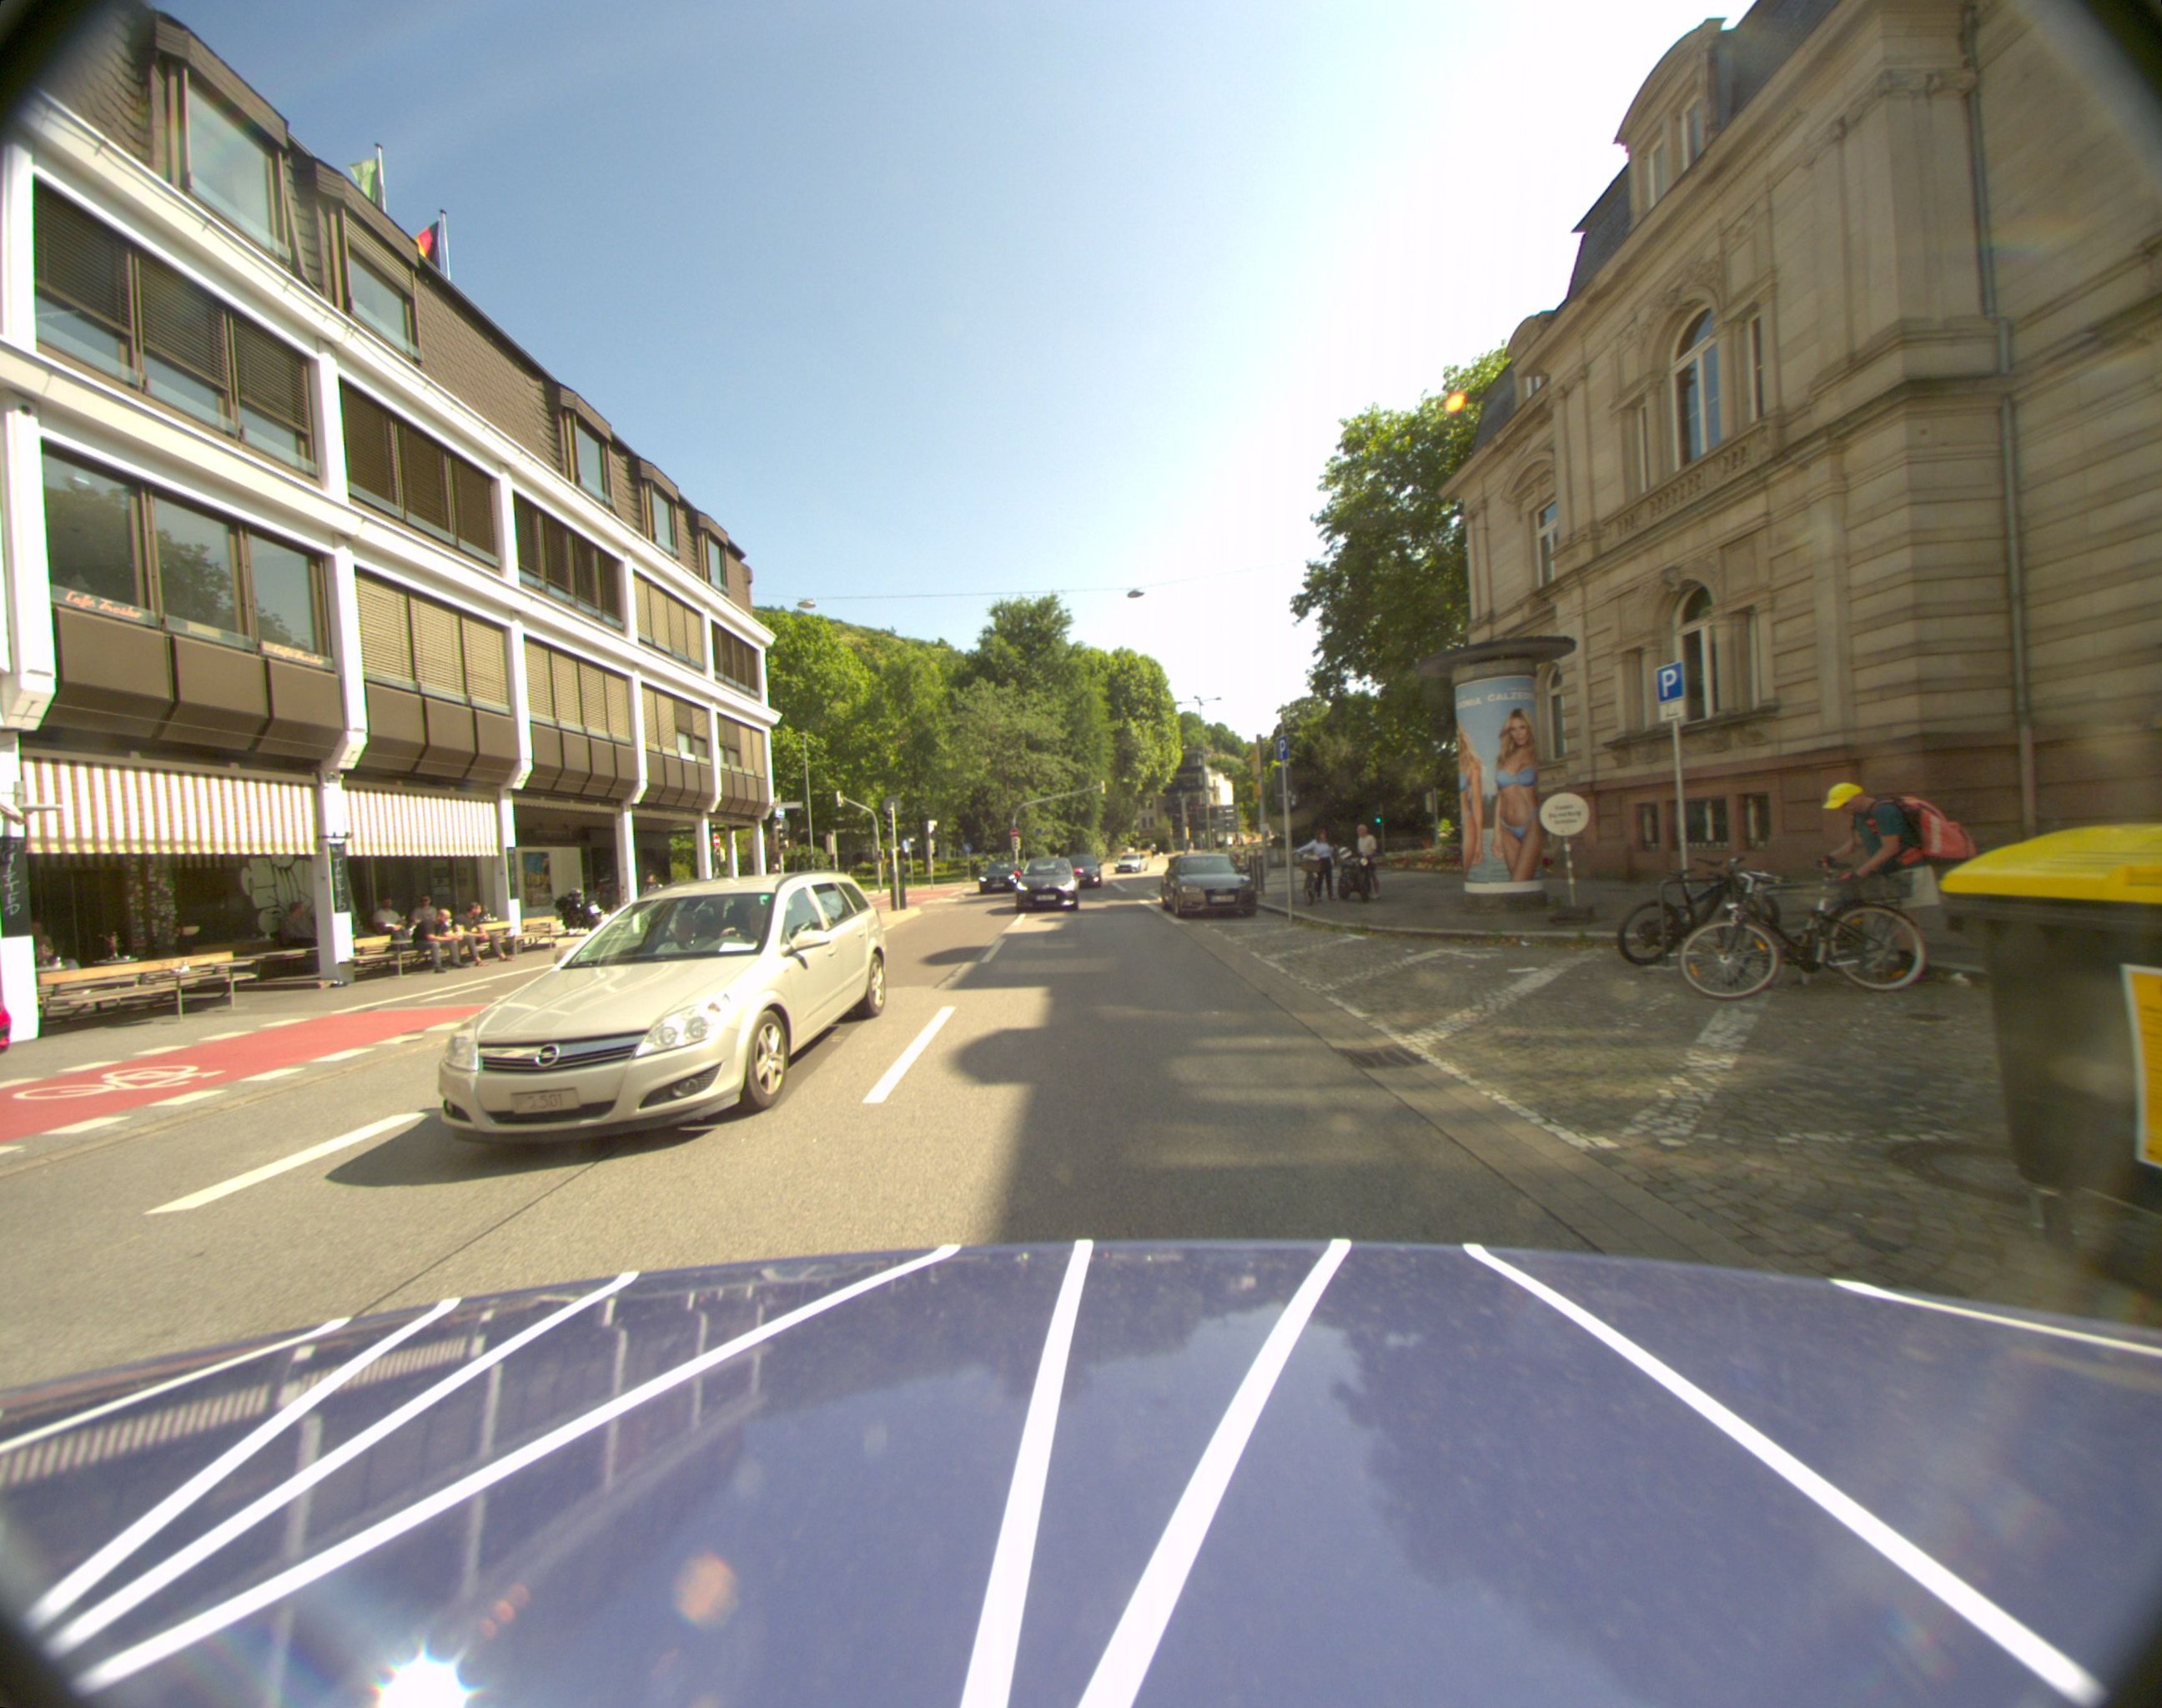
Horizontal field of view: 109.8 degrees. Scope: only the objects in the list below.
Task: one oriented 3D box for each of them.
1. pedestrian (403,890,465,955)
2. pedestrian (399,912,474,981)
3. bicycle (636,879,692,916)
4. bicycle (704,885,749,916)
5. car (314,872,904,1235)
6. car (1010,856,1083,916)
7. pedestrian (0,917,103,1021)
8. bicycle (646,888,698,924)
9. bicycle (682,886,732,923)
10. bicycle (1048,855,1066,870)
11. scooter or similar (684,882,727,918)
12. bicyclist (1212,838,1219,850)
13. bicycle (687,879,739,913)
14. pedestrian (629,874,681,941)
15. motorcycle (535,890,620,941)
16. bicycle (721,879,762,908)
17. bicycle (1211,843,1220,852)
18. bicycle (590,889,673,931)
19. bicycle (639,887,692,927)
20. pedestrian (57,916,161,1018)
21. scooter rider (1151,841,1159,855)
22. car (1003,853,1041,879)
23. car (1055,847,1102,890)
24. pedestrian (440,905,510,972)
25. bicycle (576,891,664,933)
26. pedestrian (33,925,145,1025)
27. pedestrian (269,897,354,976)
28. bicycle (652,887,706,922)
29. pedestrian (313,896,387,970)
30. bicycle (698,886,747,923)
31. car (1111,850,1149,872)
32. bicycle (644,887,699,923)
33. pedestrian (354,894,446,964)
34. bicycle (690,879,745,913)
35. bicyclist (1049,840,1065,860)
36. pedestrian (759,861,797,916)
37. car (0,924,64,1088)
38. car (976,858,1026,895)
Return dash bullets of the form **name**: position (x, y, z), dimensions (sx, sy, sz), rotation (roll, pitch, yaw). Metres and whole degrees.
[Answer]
- **pedestrian**: position (-14.983, 1.586, 17.620), dimensions (0.713, 1.389, 0.696), rotation (-3, 2, -1)
- **pedestrian**: position (-12.035, 1.715, 14.212), dimensions (0.712, 1.166, 0.697), rotation (-3, 2, 9)
- **bicycle**: position (-17.872, 1.849, 32.585), dimensions (1.970, 1.414, 0.529), rotation (-3, 0, -39)
- **bicycle**: position (-13.470, 1.743, 28.891), dimensions (1.474, 1.059, 0.376), rotation (-3, 1, -43)
- **car**: position (-2.764, 1.005, 5.839), dimensions (1.712, 1.513, 4.406), rotation (-4, 0, -1)
- **car**: position (-0.989, 0.851, 22.165), dimensions (1.811, 1.443, 3.953), rotation (-5, 0, -2)
- **pedestrian**: position (-14.800, 1.629, 10.836), dimensions (0.879, 1.360, 0.537), rotation (-4, 1, -1)
- **bicycle**: position (-13.341, 1.701, 24.799), dimensions (1.574, 1.114, 0.278), rotation (-2, 1, 7)
- **bicycle**: position (-12.899, 1.719, 26.305), dimensions (0.277, 1.114, 2.244), rotation (-3, 0, 8)
- **bicycle**: position (-1.889, 0.699, 61.203), dimensions (0.782, 1.114, 1.680), rotation (-4, 1, 22)
- **scooter or similar**: position (-13.757, 1.684, 27.854), dimensions (1.248, 1.225, 0.480), rotation (-4, 1, 6)
- **bicyclist**: position (19.402, -1.442, 109.946), dimensions (0.765, 1.627, 0.944), rotation (-3, 2, 20)
- **bicycle**: position (-15.688, 1.767, 32.417), dimensions (1.862, 1.309, 0.529), rotation (-3, 0, -39)
- **pedestrian**: position (-11.192, 1.399, 19.983), dimensions (0.834, 1.654, 0.697), rotation (-3, 2, 9)
- **motorcycle**: position (-14.097, 1.699, 21.251), dimensions (2.237, 1.283, 0.950), rotation (-3, 2, 28)
- **bicycle**: position (-13.371, 1.537, 29.979), dimensions (0.308, 1.059, 1.474), rotation (-2, 1, 35)
- **bicycle**: position (19.473, -0.979, 110.045), dimensions (0.758, 1.114, 2.004), rotation (-3, 2, 21)
- **bicycle**: position (-14.051, 1.741, 23.766), dimensions (2.243, 1.114, 0.277), rotation (-4, 1, -7)
- **bicycle**: position (-13.346, 1.707, 24.431), dimensions (1.548, 1.200, 0.278), rotation (-4, 1, 7)
- **pedestrian**: position (-14.279, 1.637, 11.178), dimensions (0.536, 1.360, 0.689), rotation (-4, 1, 1)
- **scooter rider**: position (8.817, -0.722, 90.391), dimensions (0.822, 1.662, 0.710), rotation (-3, 2, 17)
- **car**: position (-3.610, 0.701, 47.073), dimensions (1.941, 1.421, 4.342), rotation (-3, 1, 0)
- **car**: position (-0.071, 0.603, 34.163), dimensions (1.889, 1.674, 4.141), rotation (-4, 0, 1)
- **pedestrian**: position (-12.007, 1.668, 15.067), dimensions (0.712, 1.210, 0.697), rotation (-3, 2, 9)
- **bicycle**: position (-14.015, 1.764, 23.147), dimensions (2.244, 1.090, 0.277), rotation (-4, 1, -13)
- **pedestrian**: position (-14.854, 1.791, 11.393), dimensions (0.838, 1.360, 0.537), rotation (-4, 1, -1)
- **pedestrian**: position (-14.873, 1.582, 14.706), dimensions (0.815, 1.389, 0.696), rotation (-4, 2, -2)
- **bicycle**: position (-13.610, 1.710, 25.723), dimensions (1.720, 1.114, 0.278), rotation (-2, 1, 7)
- **pedestrian**: position (-14.940, 1.598, 15.548), dimensions (0.713, 1.389, 0.696), rotation (-3, 2, -1)
- **bicycle**: position (-12.458, 1.723, 26.485), dimensions (0.277, 1.114, 2.244), rotation (-3, 0, 8)
- **car**: position (3.730, 0.484, 57.084), dimensions (1.939, 1.421, 4.553), rotation (-3, 1, 14)
- **bicycle**: position (-13.653, 1.702, 25.328), dimensions (1.720, 1.114, 0.278), rotation (-2, 1, 7)
- **pedestrian**: position (-14.928, 1.619, 16.696), dimensions (0.898, 1.343, 1.105), rotation (-3, 2, -1)
- **bicycle**: position (-15.314, 1.757, 32.043), dimensions (1.970, 1.309, 0.529), rotation (-3, 0, -39)
- **bicyclist**: position (-1.948, -0.323, 61.163), dimensions (0.866, 1.566, 0.944), rotation (-3, 2, 21)
- **pedestrian**: position (-10.483, 1.195, 26.298), dimensions (0.834, 1.825, 0.697), rotation (-3, 2, 9)
- **car**: position (-12.202, 1.580, 6.649), dimensions (4.054, 1.486, 1.841), rotation (-3, 3, 2)
- **car**: position (-3.561, 0.970, 34.634), dimensions (1.848, 1.421, 4.211), rotation (-4, 1, -2)
